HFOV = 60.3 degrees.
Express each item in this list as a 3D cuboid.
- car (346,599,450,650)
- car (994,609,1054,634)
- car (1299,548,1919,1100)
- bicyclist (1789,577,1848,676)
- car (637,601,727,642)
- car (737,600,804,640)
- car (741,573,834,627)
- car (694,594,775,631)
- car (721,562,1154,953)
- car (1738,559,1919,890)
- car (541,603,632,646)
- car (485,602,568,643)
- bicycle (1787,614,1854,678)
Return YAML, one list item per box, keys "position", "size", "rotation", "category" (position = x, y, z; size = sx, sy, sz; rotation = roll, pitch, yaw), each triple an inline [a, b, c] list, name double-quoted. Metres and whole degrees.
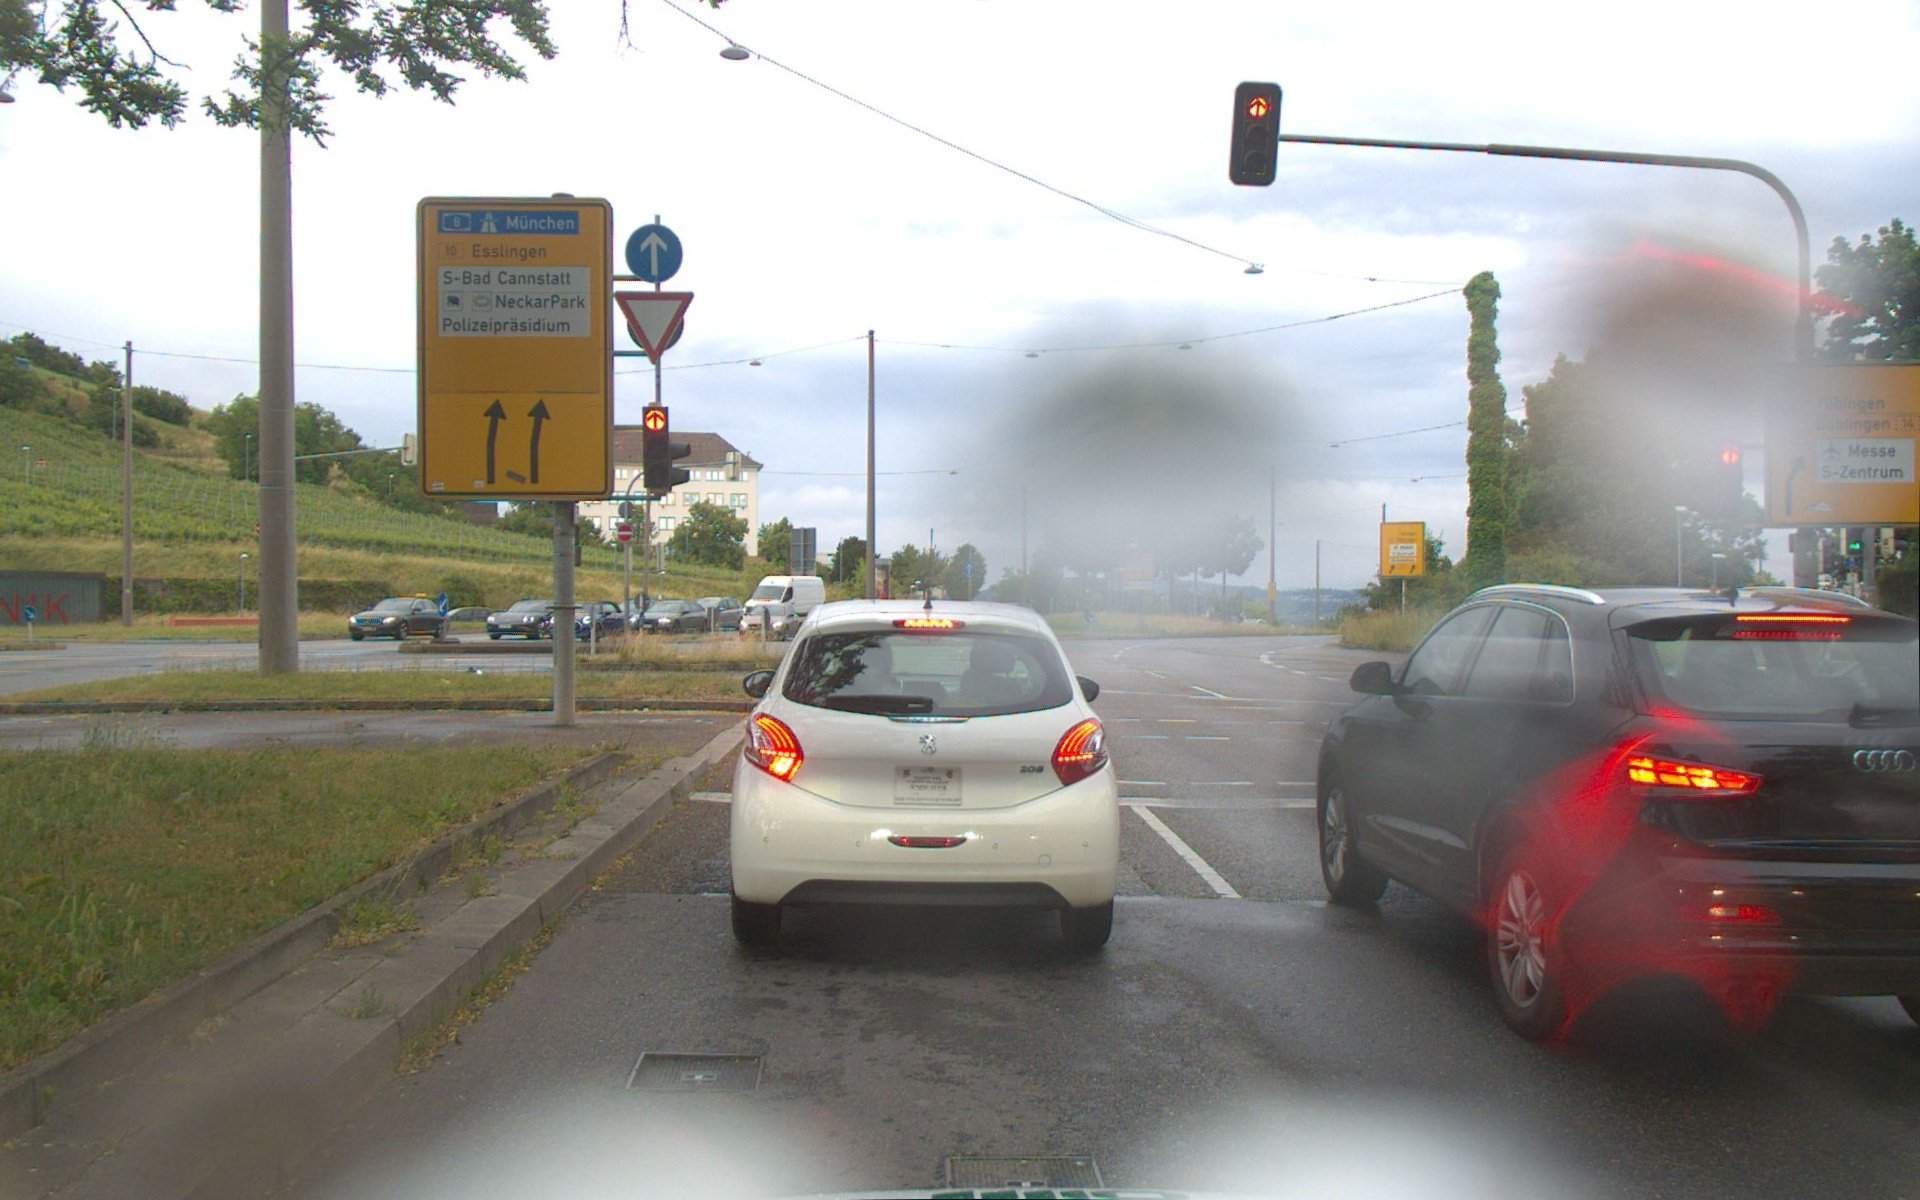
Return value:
- position: [-19.759, 0.852, 58.404]
  size: [1.791, 1.652, 4.568]
  rotation: [2, -1, 4]
  category: "car"
- position: [4.234, 1.414, 108.491]
  size: [1.959, 1.539, 4.218]
  rotation: [2, -1, 34]
  category: "car"
- position: [2.852, 0.708, 7.039]
  size: [1.846, 1.623, 4.112]
  rotation: [2, -1, -1]
  category: "car"
- position: [14.503, 0.452, 27.965]
  size: [0.792, 1.611, 1.022]
  rotation: [2, -1, 24]
  category: "bicyclist"
- position: [-11.117, 0.878, 66.484]
  size: [1.861, 1.515, 4.896]
  rotation: [2, -1, 12]
  category: "car"
- position: [-7.167, 0.771, 62.954]
  size: [1.738, 1.450, 4.376]
  rotation: [0, -1, 4]
  category: "car"
- position: [-8.916, 0.030, 85.926]
  size: [1.953, 2.604, 6.166]
  rotation: [2, -1, 24]
  category: "car"
- position: [-10.707, 0.610, 78.835]
  size: [1.953, 1.603, 4.194]
  rotation: [2, -1, 22]
  category: "car"
- position: [-0.138, 0.639, 8.519]
  size: [1.683, 1.515, 3.998]
  rotation: [1, -1, -2]
  category: "car"
- position: [5.888, 0.663, 8.124]
  size: [1.827, 1.703, 4.563]
  rotation: [1, 1, -2]
  category: "car"
- position: [-13.072, 0.892, 58.081]
  size: [1.748, 1.420, 3.884]
  rotation: [1, -1, 9]
  category: "car"
- position: [-15.968, 0.838, 61.104]
  size: [1.749, 1.420, 3.883]
  rotation: [1, -1, 4]
  category: "car"
- position: [14.504, 0.761, 27.930]
  size: [0.792, 1.040, 2.328]
  rotation: [-1, -1, 23]
  category: "bicycle"
